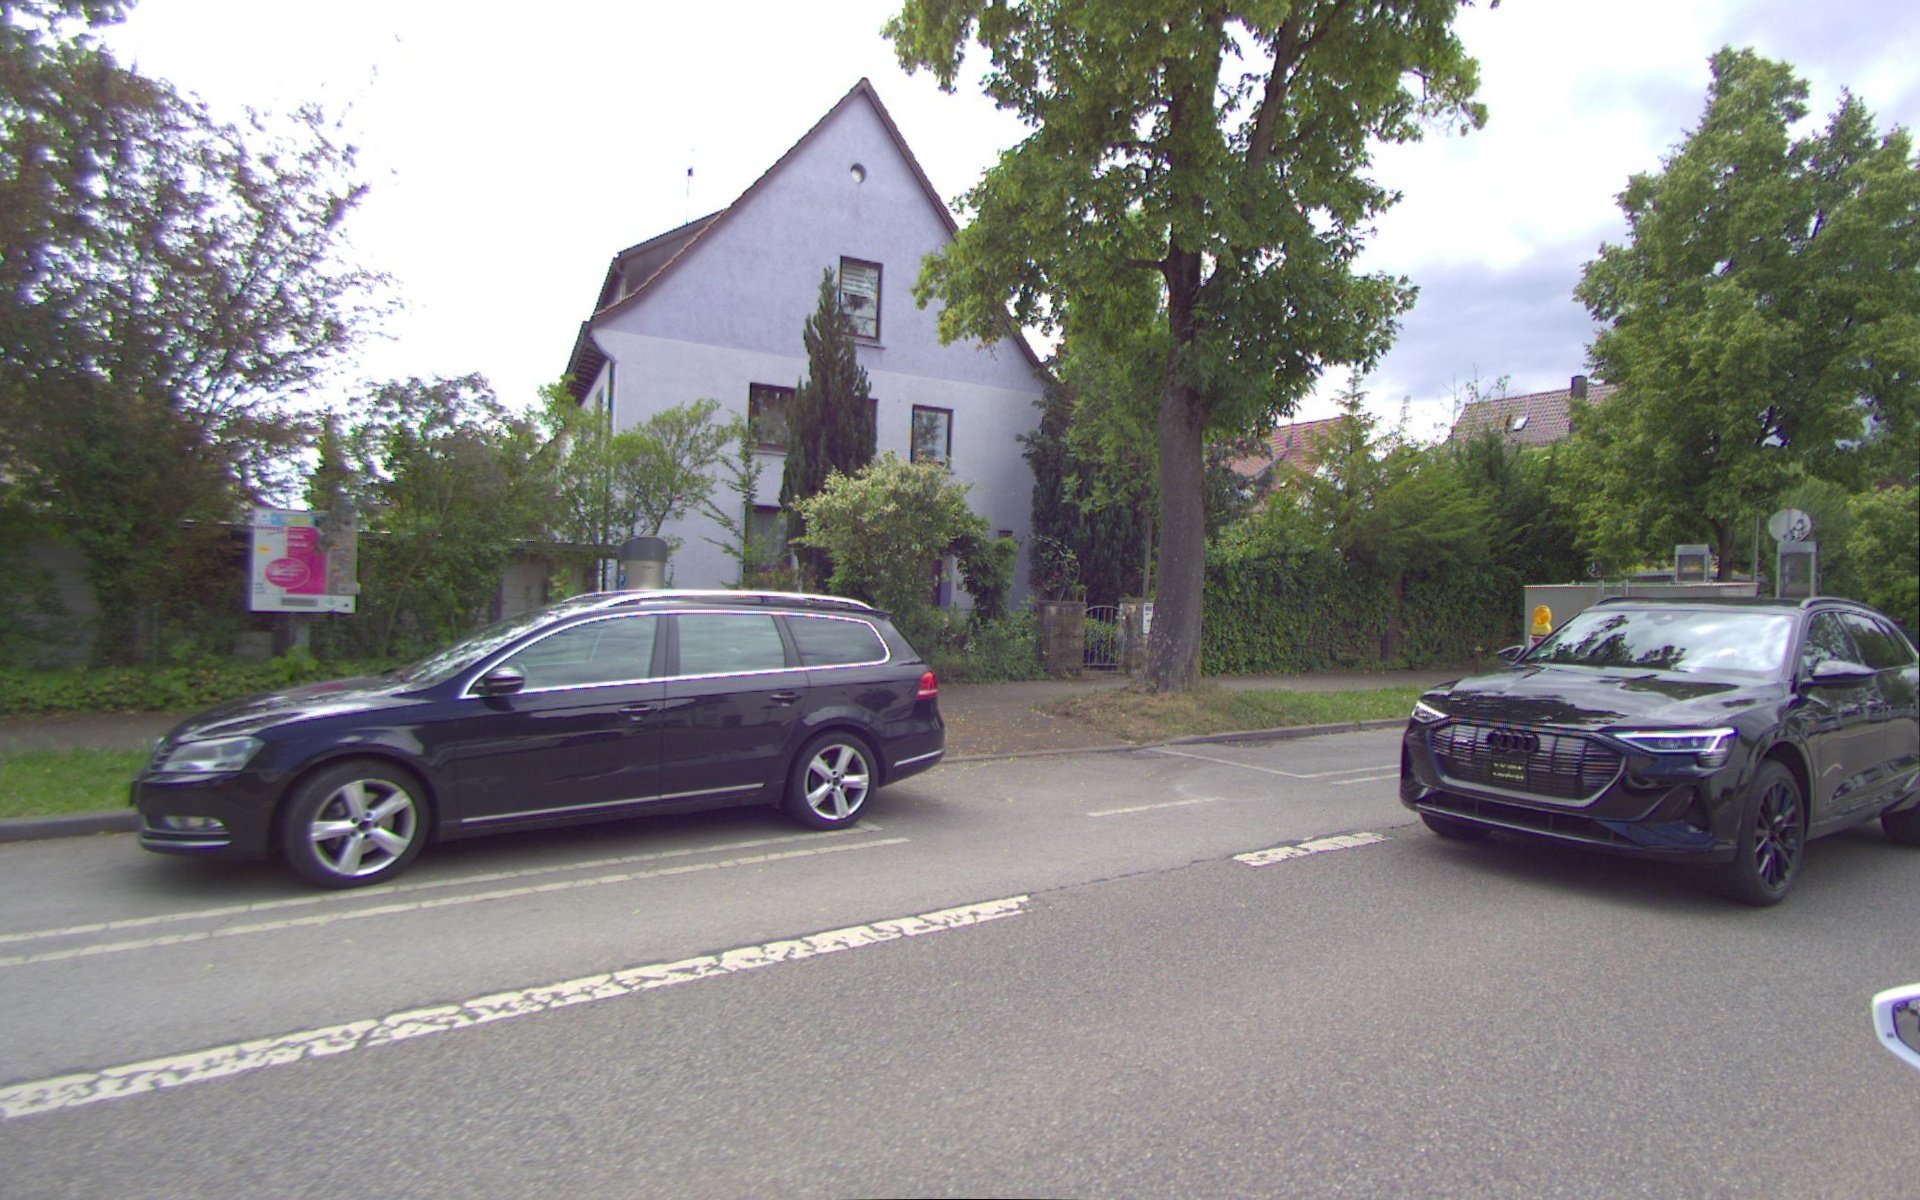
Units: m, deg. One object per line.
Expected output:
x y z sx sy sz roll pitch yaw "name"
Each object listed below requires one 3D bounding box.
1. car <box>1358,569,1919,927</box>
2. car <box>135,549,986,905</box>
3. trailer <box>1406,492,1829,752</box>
4.971 0.764 6.846 4.541 1.690 1.982 2 -1 -34 "car"
-2.246 0.666 6.523 4.574 1.573 1.848 4 -1 -35 "car"
9.883 0.351 14.745 7.403 2.980 2.655 2 0 -36 "trailer"
